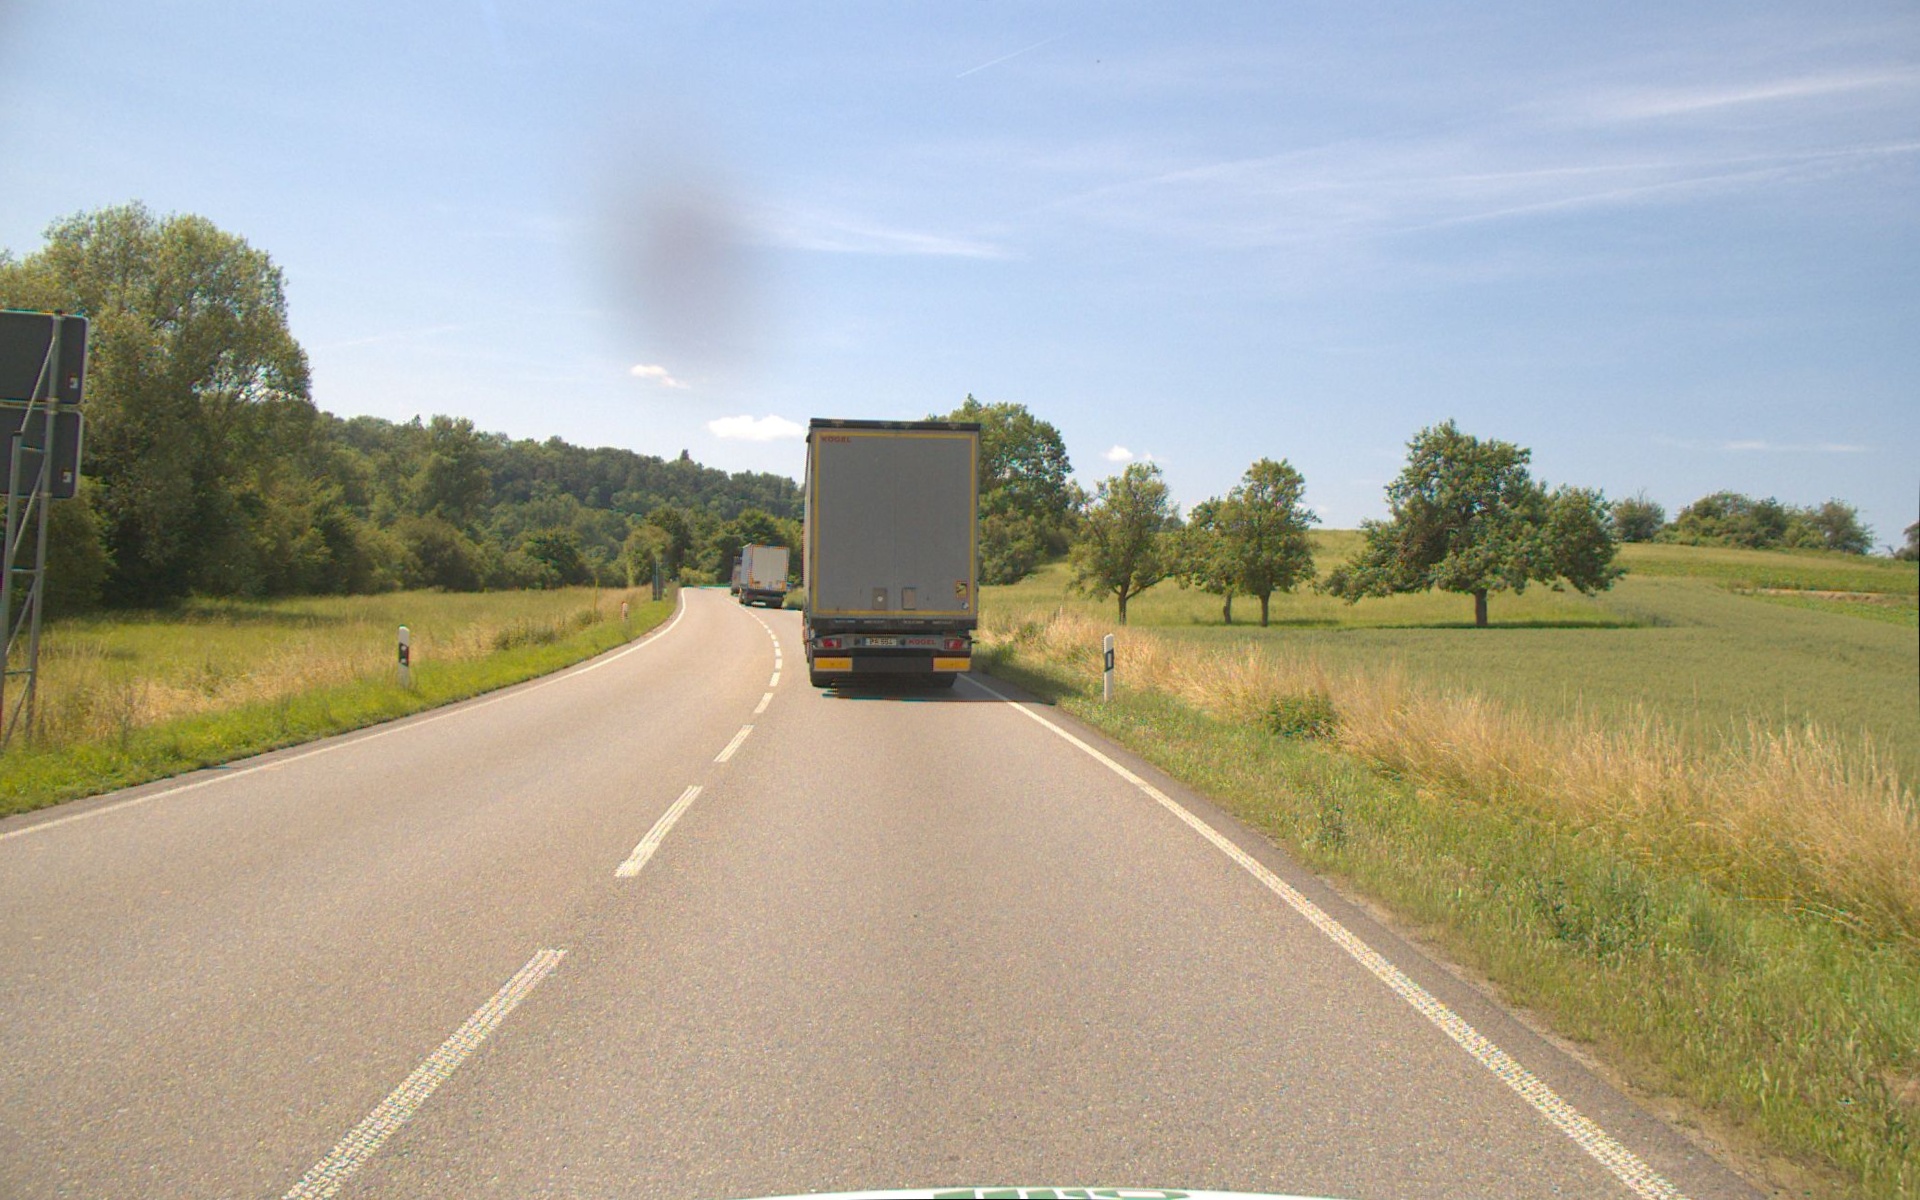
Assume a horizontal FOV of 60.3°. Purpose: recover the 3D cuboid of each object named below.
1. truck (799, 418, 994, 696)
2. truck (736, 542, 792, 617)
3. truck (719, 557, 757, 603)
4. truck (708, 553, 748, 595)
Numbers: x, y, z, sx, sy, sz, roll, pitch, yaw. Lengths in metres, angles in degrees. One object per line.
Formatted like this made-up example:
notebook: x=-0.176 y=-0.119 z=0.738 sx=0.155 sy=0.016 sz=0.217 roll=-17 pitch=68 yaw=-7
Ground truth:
truck: x=-1.379 y=-0.657 z=28.887 sx=2.754 sy=4.015 sz=9.579 roll=1 pitch=0 yaw=-6
truck: x=-13.647 y=-1.296 z=113.976 sx=2.907 sy=4.664 sz=16.278 roll=3 pitch=0 yaw=-9
truck: x=-23.288 y=-2.006 z=172.991 sx=3.569 sy=4.201 sz=13.071 roll=3 pitch=-2 yaw=-8
truck: x=-27.039 y=-2.930 z=191.988 sx=3.467 sy=4.315 sz=13.364 roll=4 pitch=-2 yaw=-12
